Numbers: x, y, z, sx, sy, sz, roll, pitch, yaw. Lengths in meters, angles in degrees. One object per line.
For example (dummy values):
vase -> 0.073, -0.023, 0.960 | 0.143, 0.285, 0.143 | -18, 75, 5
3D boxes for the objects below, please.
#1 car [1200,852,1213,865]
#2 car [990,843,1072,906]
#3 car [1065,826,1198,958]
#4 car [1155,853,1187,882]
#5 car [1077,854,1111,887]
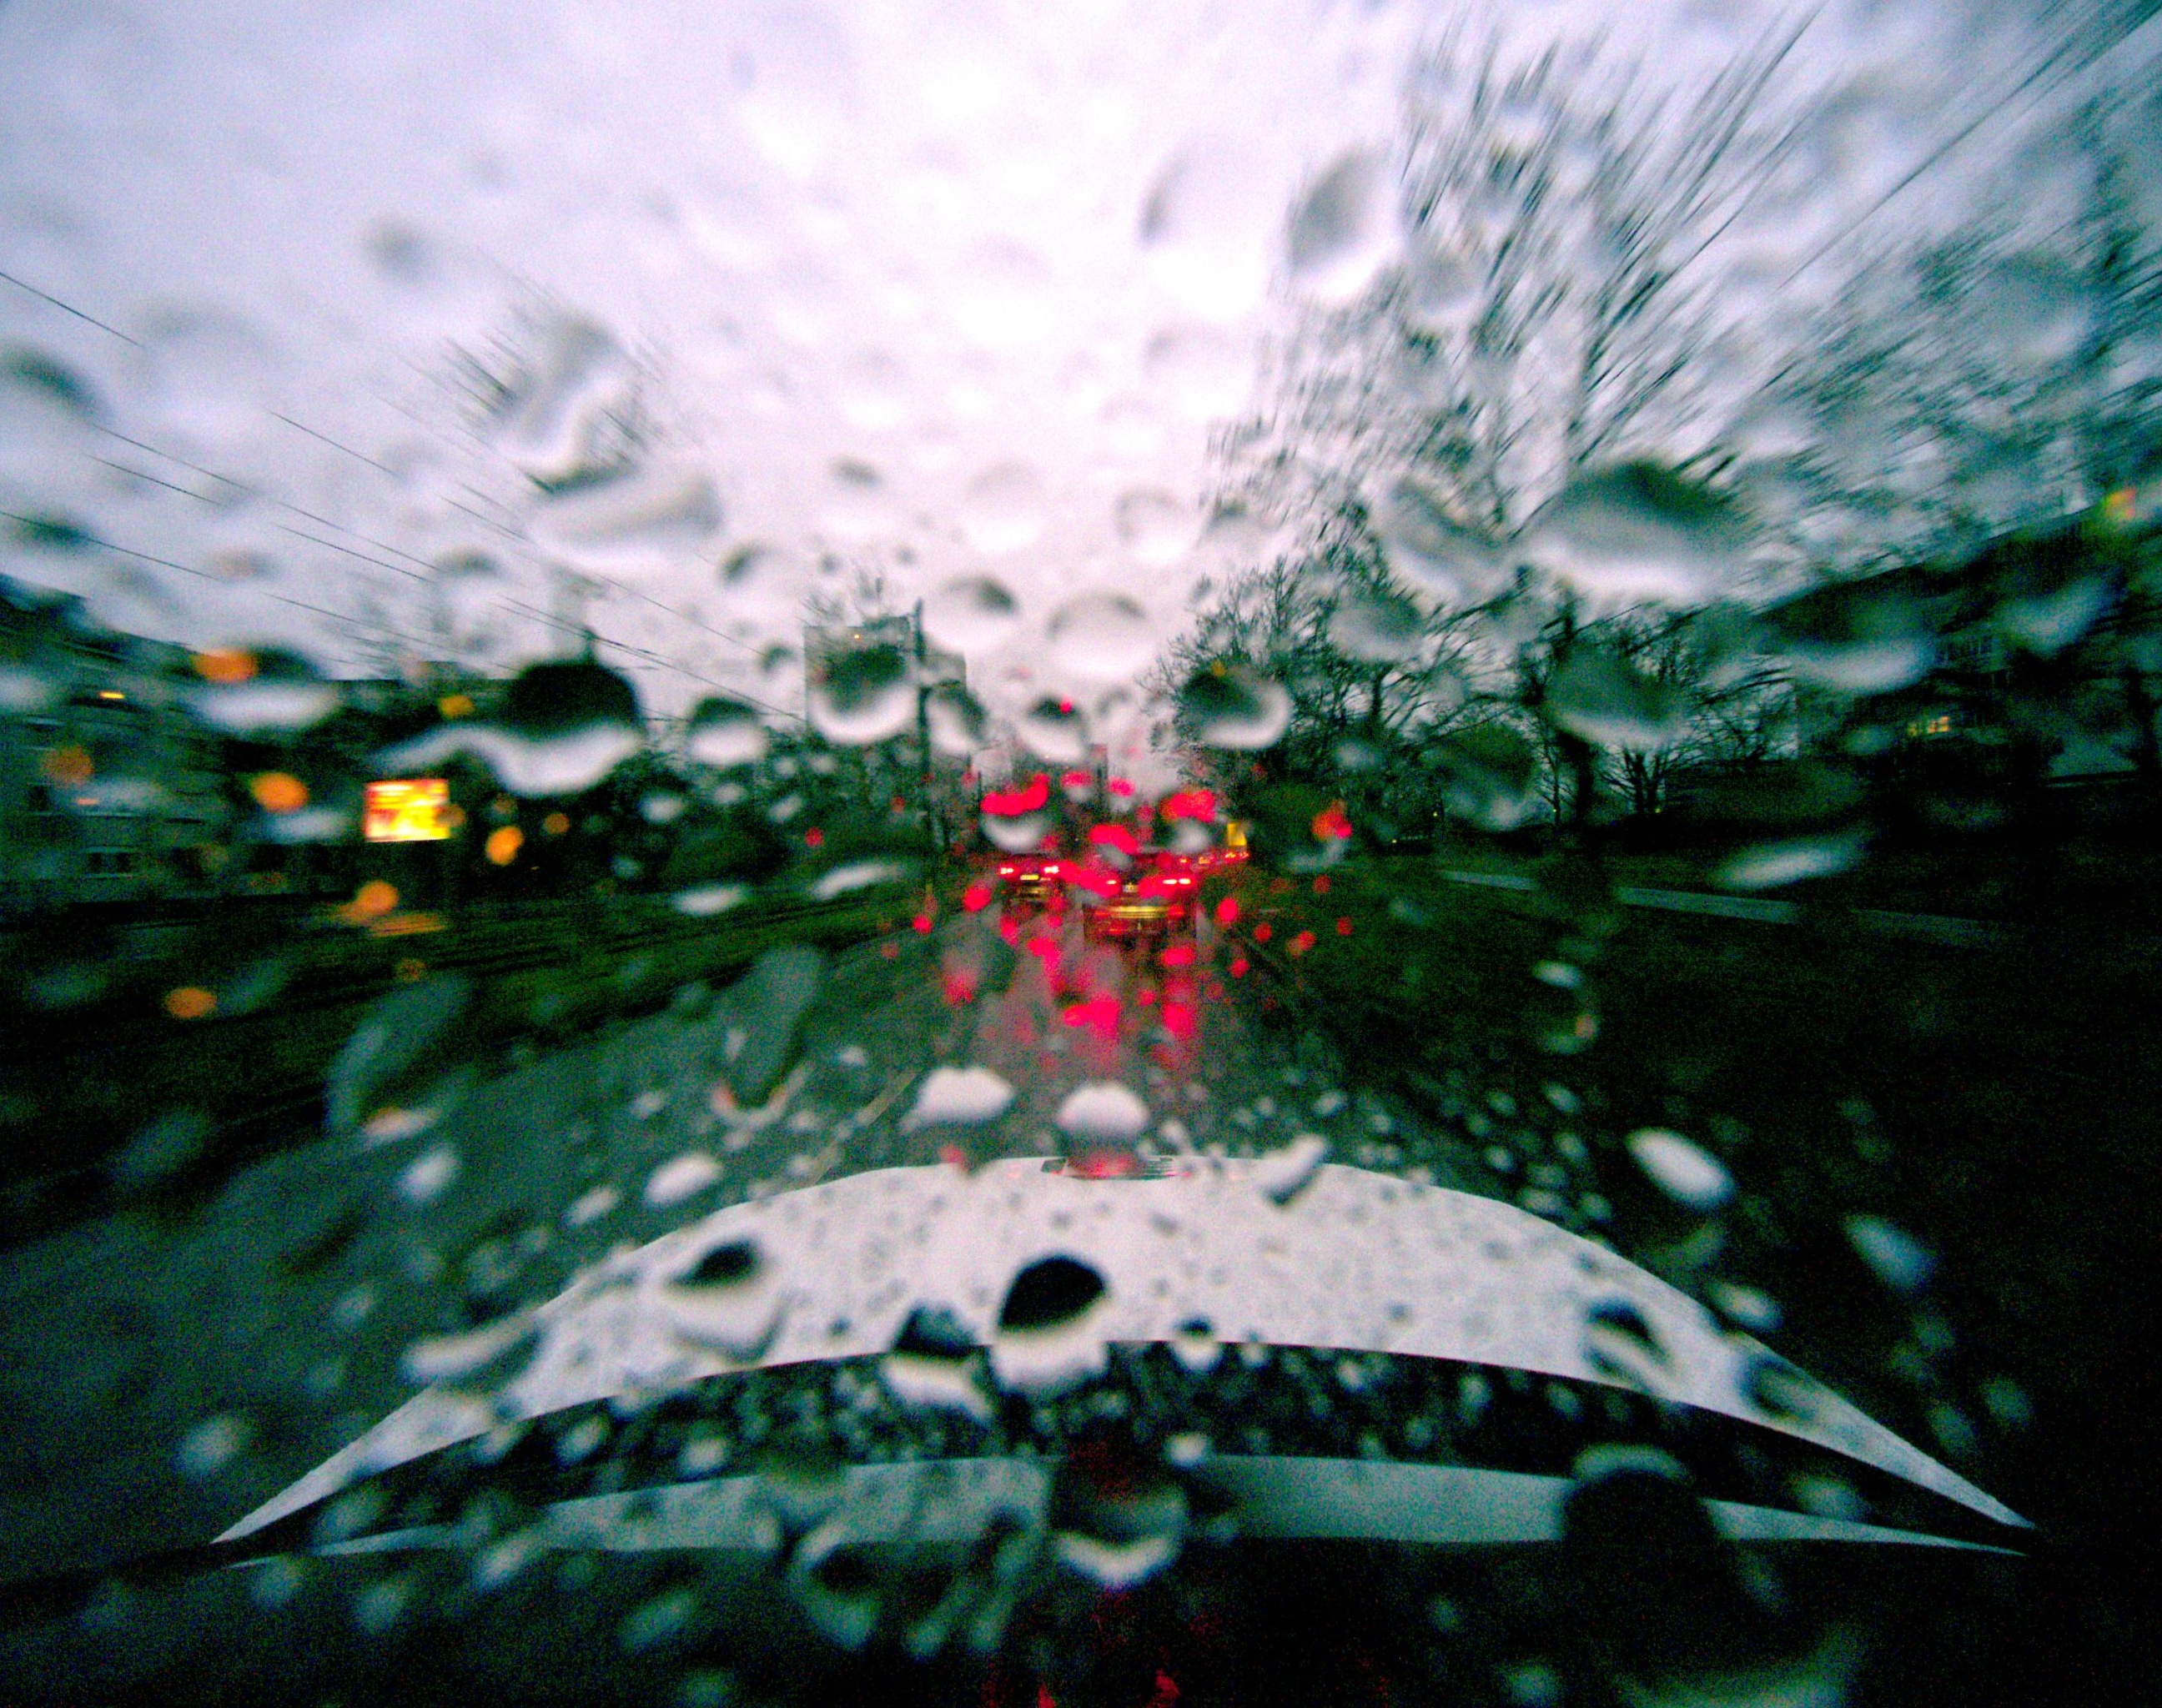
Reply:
car -> 15.209, 0.555, 98.699 | 1.526, 1.513, 3.349 | -1, -1, 7
car -> -1.414, 0.622, 24.720 | 1.985, 1.712, 4.327 | -1, -1, 2
car -> 0.878, 0.626, 14.429 | 1.985, 1.976, 4.071 | -1, -1, 3
car -> 6.158, 0.938, 55.994 | 1.849, 1.892, 4.002 | -1, -1, 2
car -> 0.759, 0.900, 45.504 | 1.820, 1.739, 3.807 | -1, 0, 2
